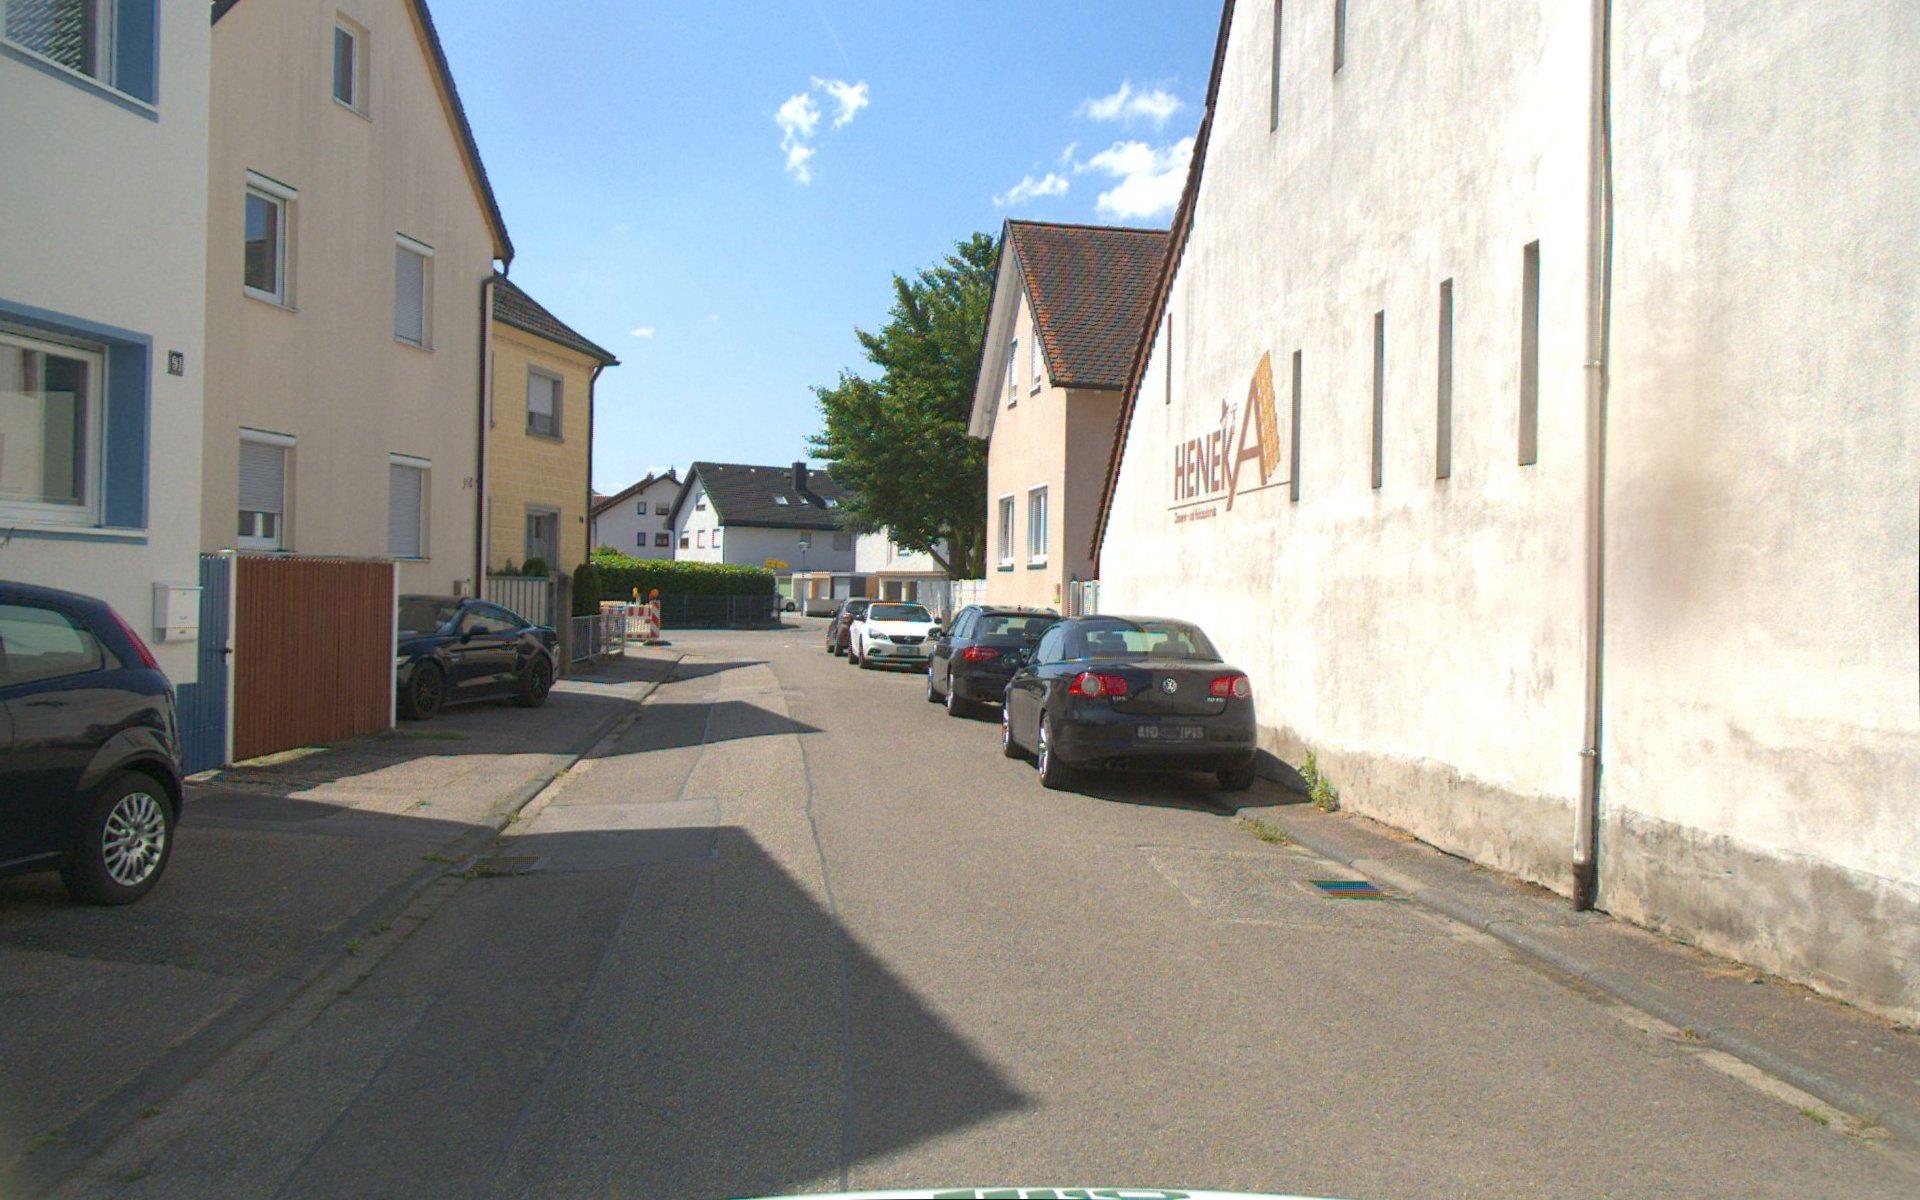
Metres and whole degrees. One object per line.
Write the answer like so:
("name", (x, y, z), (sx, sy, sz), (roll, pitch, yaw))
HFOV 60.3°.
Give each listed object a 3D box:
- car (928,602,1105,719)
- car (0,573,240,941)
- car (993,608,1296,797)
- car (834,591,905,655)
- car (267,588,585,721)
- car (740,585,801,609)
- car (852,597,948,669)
("car", (0.661, 0.758, 22.941), (1.859, 1.389, 4.732), (2, 0, -5))
("car", (-4.723, 0.623, 6.511), (1.602, 1.480, 3.790), (2, 0, 10))
("car", (1.479, 0.809, 14.983), (1.859, 1.389, 4.409), (2, 0, -5))
("car", (-2.428, 0.581, 43.557), (1.679, 1.559, 4.031), (2, 0, -5))
("car", (-6.276, 0.615, 20.040), (1.732, 1.373, 4.473), (2, 0, 10))
("car", (-12.425, -0.188, 108.602), (3.561, 1.433, 1.766), (1, 0, -30))
("car", (-1.395, 0.694, 36.931), (1.859, 1.453, 4.732), (2, 0, -5))
